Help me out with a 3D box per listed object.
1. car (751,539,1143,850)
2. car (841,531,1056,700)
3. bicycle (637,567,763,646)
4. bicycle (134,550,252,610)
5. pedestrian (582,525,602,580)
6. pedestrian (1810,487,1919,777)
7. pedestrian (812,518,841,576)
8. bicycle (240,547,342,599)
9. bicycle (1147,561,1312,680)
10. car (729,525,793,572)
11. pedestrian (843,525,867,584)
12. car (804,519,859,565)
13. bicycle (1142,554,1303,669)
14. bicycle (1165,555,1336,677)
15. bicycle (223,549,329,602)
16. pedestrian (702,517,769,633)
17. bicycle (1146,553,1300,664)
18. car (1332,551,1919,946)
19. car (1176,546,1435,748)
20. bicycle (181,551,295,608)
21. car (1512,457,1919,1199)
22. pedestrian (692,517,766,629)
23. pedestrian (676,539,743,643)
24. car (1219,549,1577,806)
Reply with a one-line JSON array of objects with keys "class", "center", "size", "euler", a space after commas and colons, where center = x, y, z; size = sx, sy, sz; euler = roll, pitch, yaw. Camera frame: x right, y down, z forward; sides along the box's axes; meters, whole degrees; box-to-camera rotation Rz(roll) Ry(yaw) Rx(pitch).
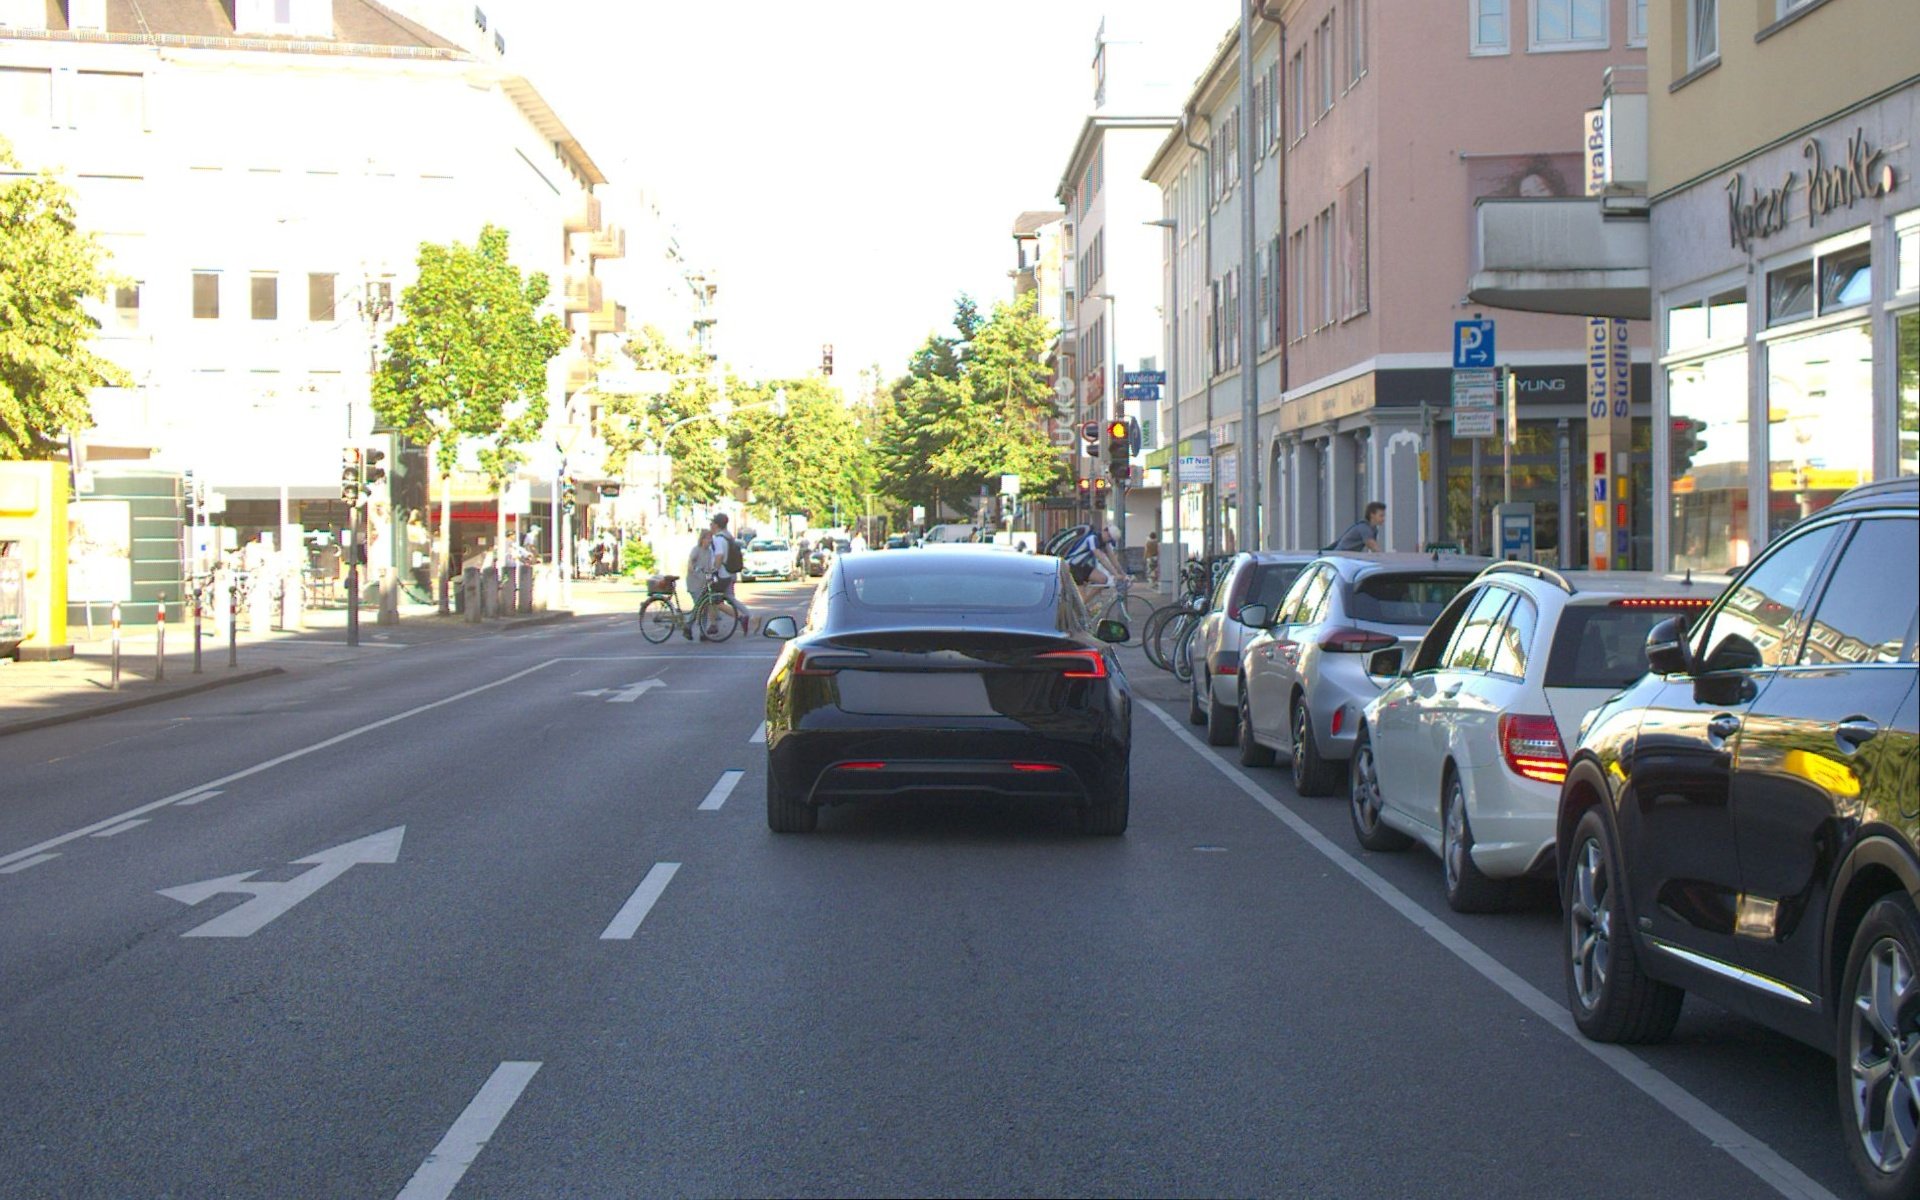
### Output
[{"class": "car", "center": [-0.036, 0.416, 18.236], "size": [1.850, 1.450, 3.786], "euler": [0, 1, 1]}, {"class": "car", "center": [-0.074, 0.099, 31.739], "size": [1.850, 1.450, 3.786], "euler": [0, 1, 1]}, {"class": "bicycle", "center": [-3.601, 0.085, 47.572], "size": [1.616, 1.041, 0.590], "euler": [1, 1, 15]}, {"class": "bicycle", "center": [-14.604, -0.384, 65.488], "size": [2.082, 1.100, 0.806], "euler": [0, 1, 0]}, {"class": "pedestrian", "center": [-13.499, -1.731, 126.128], "size": [0.626, 2.007, 0.707], "euler": [0, 1, 0]}, {"class": "pedestrian", "center": [5.304, 0.176, 19.770], "size": [0.662, 1.627, 0.627], "euler": [-2, 0, 4]}, {"class": "pedestrian", "center": [-4.658, -1.847, 120.036], "size": [0.750, 2.007, 0.798], "euler": [0, 1, -26]}, {"class": "bicycle", "center": [-14.584, -0.598, 74.975], "size": [2.082, 1.100, 0.806], "euler": [0, 1, 0]}, {"class": "bicycle", "center": [2.754, 0.208, 35.203], "size": [1.627, 1.156, 0.433], "euler": [-2, 1, -1]}, {"class": "car", "center": [-7.090, -1.850, 122.929], "size": [1.993, 1.535, 4.000], "euler": [-3, 1, 0]}, {"class": "pedestrian", "center": [-3.603, -1.570, 118.512], "size": [0.627, 2.007, 0.558], "euler": [1, 1, 25]}, {"class": "car", "center": [-4.936, -2.231, 131.668], "size": [2.050, 1.721, 4.654], "euler": [0, 1, -3]}, {"class": "bicycle", "center": [2.753, 0.121, 36.168], "size": [1.627, 1.156, 0.433], "euler": [-2, 1, -1]}, {"class": "bicycle", "center": [2.870, 0.156, 34.053], "size": [1.627, 1.156, 0.433], "euler": [-2, 1, -1]}, {"class": "bicycle", "center": [-14.471, -0.515, 72.781], "size": [2.082, 1.100, 0.806], "euler": [0, 1, 0]}, {"class": "pedestrian", "center": [-3.361, -0.379, 51.519], "size": [0.901, 1.719, 0.744], "euler": [1, 1, 4]}, {"class": "bicycle", "center": [2.854, 0.087, 37.366], "size": [1.628, 1.156, 0.433], "euler": [-2, 1, 1]}, {"class": "car", "center": [2.795, 0.529, 15.138], "size": [1.738, 1.442, 4.465], "euler": [0, 1, -1]}, {"class": "car", "center": [2.553, 0.303, 26.148], "size": [1.622, 1.389, 3.886], "euler": [0, 1, 1]}, {"class": "bicycle", "center": [-14.268, -0.414, 68.004], "size": [2.082, 1.100, 0.806], "euler": [0, 1, 0]}, {"class": "car", "center": [2.815, 0.534, 8.839], "size": [1.755, 1.730, 4.573], "euler": [0, 1, -4]}, {"class": "pedestrian", "center": [-3.382, -0.401, 50.441], "size": [0.986, 1.631, 0.737], "euler": [1, 1, 4]}, {"class": "pedestrian", "center": [-3.476, -0.130, 47.805], "size": [0.744, 1.435, 0.582], "euler": [1, 1, 18]}, {"class": "car", "center": [2.641, 0.411, 21.565], "size": [1.670, 1.422, 4.077], "euler": [0, 1, -1]}]
